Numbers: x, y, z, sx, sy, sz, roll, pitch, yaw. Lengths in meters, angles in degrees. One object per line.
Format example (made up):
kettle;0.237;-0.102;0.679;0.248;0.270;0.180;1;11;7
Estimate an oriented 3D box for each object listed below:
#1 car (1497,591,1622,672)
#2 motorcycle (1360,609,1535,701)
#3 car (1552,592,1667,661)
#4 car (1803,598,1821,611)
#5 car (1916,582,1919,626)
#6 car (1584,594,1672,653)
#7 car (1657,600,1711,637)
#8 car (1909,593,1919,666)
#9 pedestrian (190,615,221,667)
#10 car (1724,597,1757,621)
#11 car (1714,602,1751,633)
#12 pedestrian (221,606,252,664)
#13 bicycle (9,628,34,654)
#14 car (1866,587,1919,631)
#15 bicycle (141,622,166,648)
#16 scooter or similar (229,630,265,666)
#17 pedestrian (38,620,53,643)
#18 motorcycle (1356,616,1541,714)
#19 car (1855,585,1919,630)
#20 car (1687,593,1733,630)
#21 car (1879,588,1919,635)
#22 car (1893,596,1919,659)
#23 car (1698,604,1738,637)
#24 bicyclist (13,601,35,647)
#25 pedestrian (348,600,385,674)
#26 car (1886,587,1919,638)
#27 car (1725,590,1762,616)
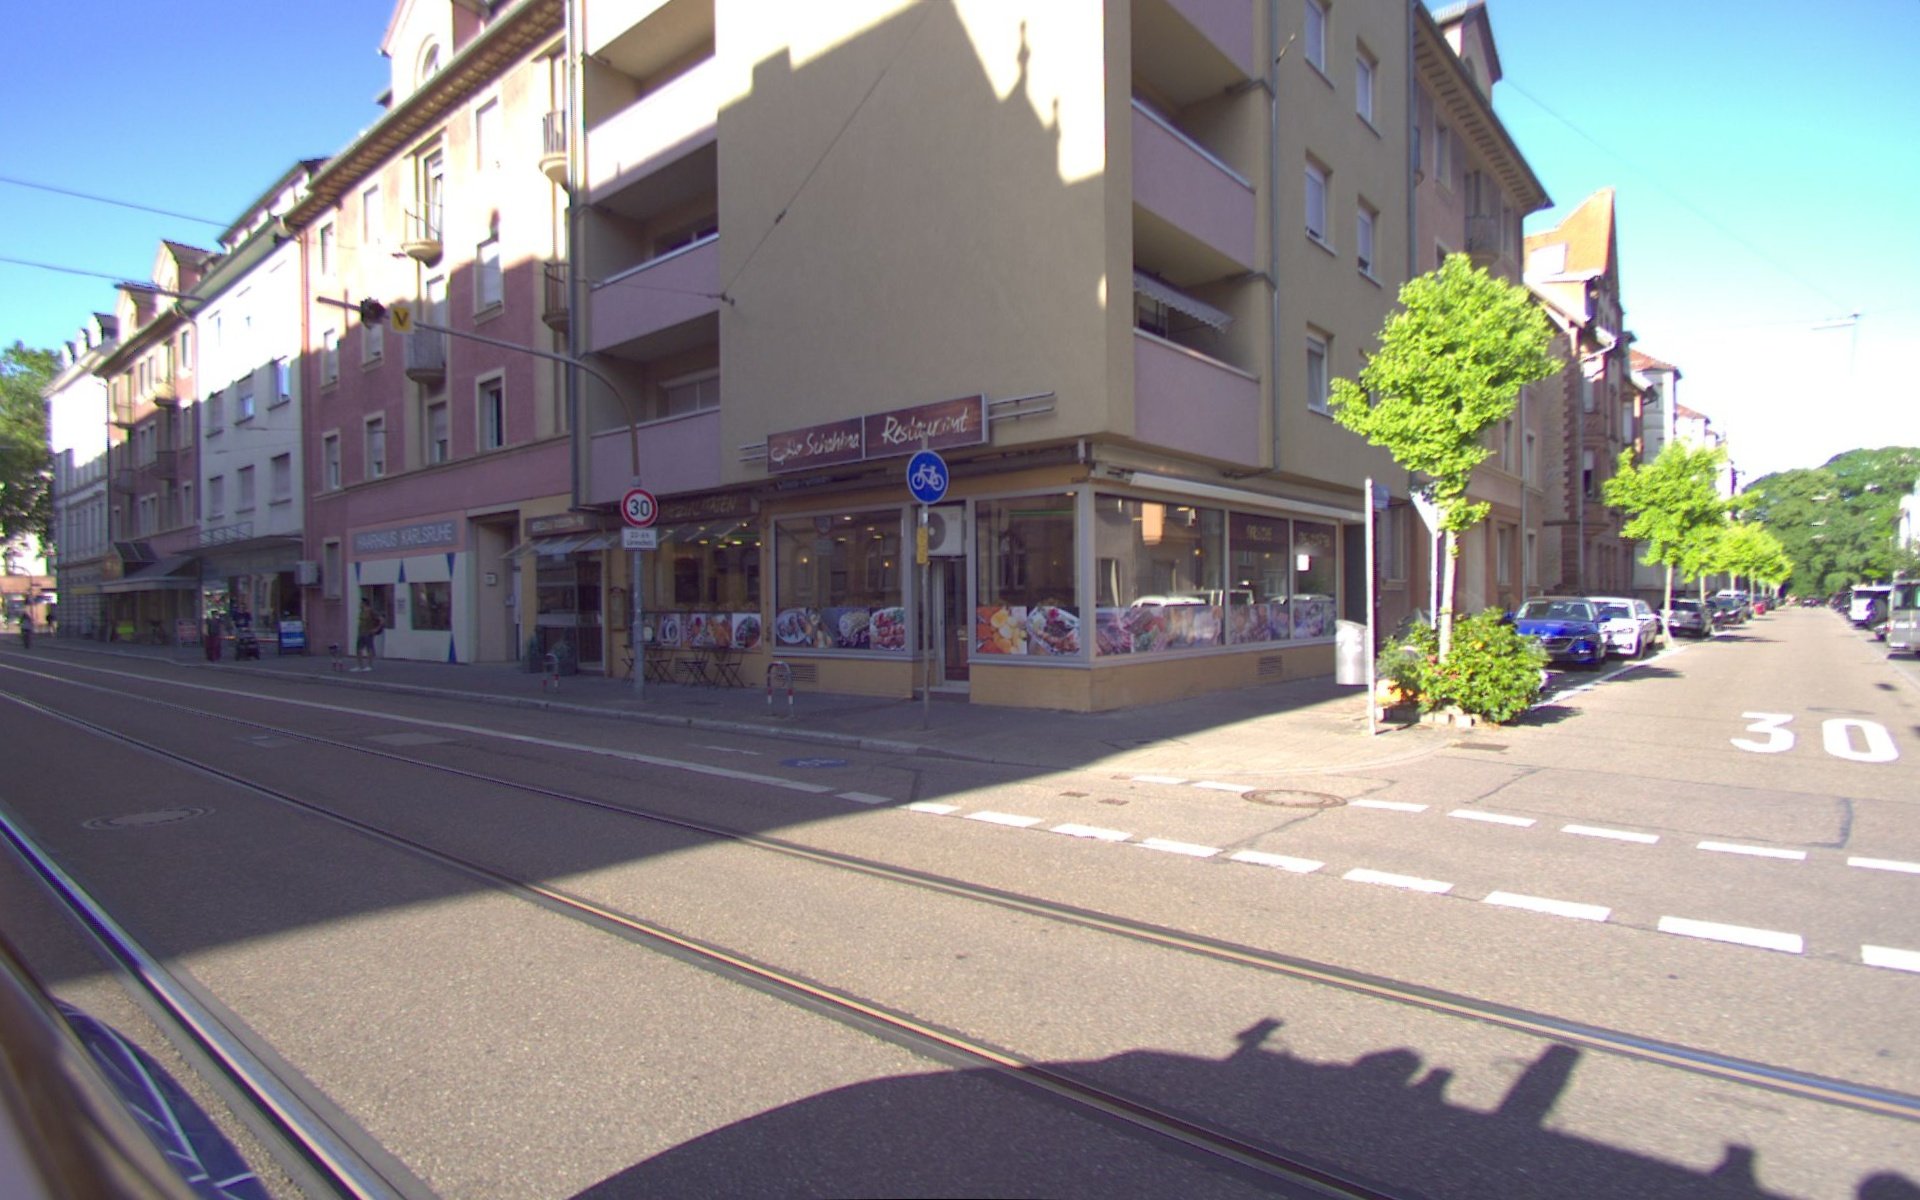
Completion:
car;12.543;0.594;21.394;1.785;1.522;3.839;-1;1;24
motorcycle;6.956;0.746;14.523;2.175;1.218;0.613;-1;1;41
car;15.887;0.595;24.942;1.785;1.522;3.839;-1;1;24
car;106.631;0.521;126.682;1.726;1.497;3.662;-1;1;40
car;23.370;0.316;21.607;3.951;1.727;1.688;-4;-1;6
car;19.205;0.623;29.025;1.793;1.522;3.821;-1;1;38
car;28.256;0.691;39.461;1.506;1.316;3.521;-1;1;39
car;21.347;0.469;19.641;3.951;1.468;1.688;-4;-1;6
pedestrian;-23.264;1.254;31.207;0.623;1.560;0.629;-1;0;40
car;54.328;0.629;70.439;1.793;1.522;3.821;-1;1;38
car;43.414;0.973;56.863;1.506;1.582;3.521;-1;1;39
pedestrian;-23.094;1.099;32.306;0.820;1.803;0.619;-1;0;40
bicycle;-42.413;1.837;45.751;2.043;1.104;0.596;-1;-2;41
car;33.918;0.292;35.025;3.507;1.469;1.616;-1;0;6
bicycle;-35.136;1.521;44.085;2.328;1.067;0.420;-1;1;41
scooter or similar;-22.183;1.477;31.472;1.104;1.069;0.655;-2;0;41
pedestrian;-75.827;2.593;83.914;0.809;1.861;0.784;-1;0;44
motorcycle;6.612;0.837;13.783;2.175;1.218;0.613;-1;1;41
car;43.435;0.315;46.227;3.527;1.998;1.503;-1;0;10
car;34.343;0.519;46.317;1.506;1.582;3.521;-1;1;39
car;32.359;0.341;32.769;3.507;1.469;1.616;-1;0;6
car;24.687;0.560;23.915;3.507;1.468;1.616;-4;-1;6
car;40.159;1.066;53.583;1.506;1.582;3.521;-1;1;39
bicyclist;-42.202;1.062;45.629;0.733;2.029;0.605;-1;0;41
pedestrian;-13.941;0.848;23.771;0.616;1.698;0.557;-1;0;39
car;30.346;0.267;30.297;3.507;1.468;1.616;-4;-1;6
car;50.383;0.184;65.082;1.793;1.522;3.821;-1;1;38
